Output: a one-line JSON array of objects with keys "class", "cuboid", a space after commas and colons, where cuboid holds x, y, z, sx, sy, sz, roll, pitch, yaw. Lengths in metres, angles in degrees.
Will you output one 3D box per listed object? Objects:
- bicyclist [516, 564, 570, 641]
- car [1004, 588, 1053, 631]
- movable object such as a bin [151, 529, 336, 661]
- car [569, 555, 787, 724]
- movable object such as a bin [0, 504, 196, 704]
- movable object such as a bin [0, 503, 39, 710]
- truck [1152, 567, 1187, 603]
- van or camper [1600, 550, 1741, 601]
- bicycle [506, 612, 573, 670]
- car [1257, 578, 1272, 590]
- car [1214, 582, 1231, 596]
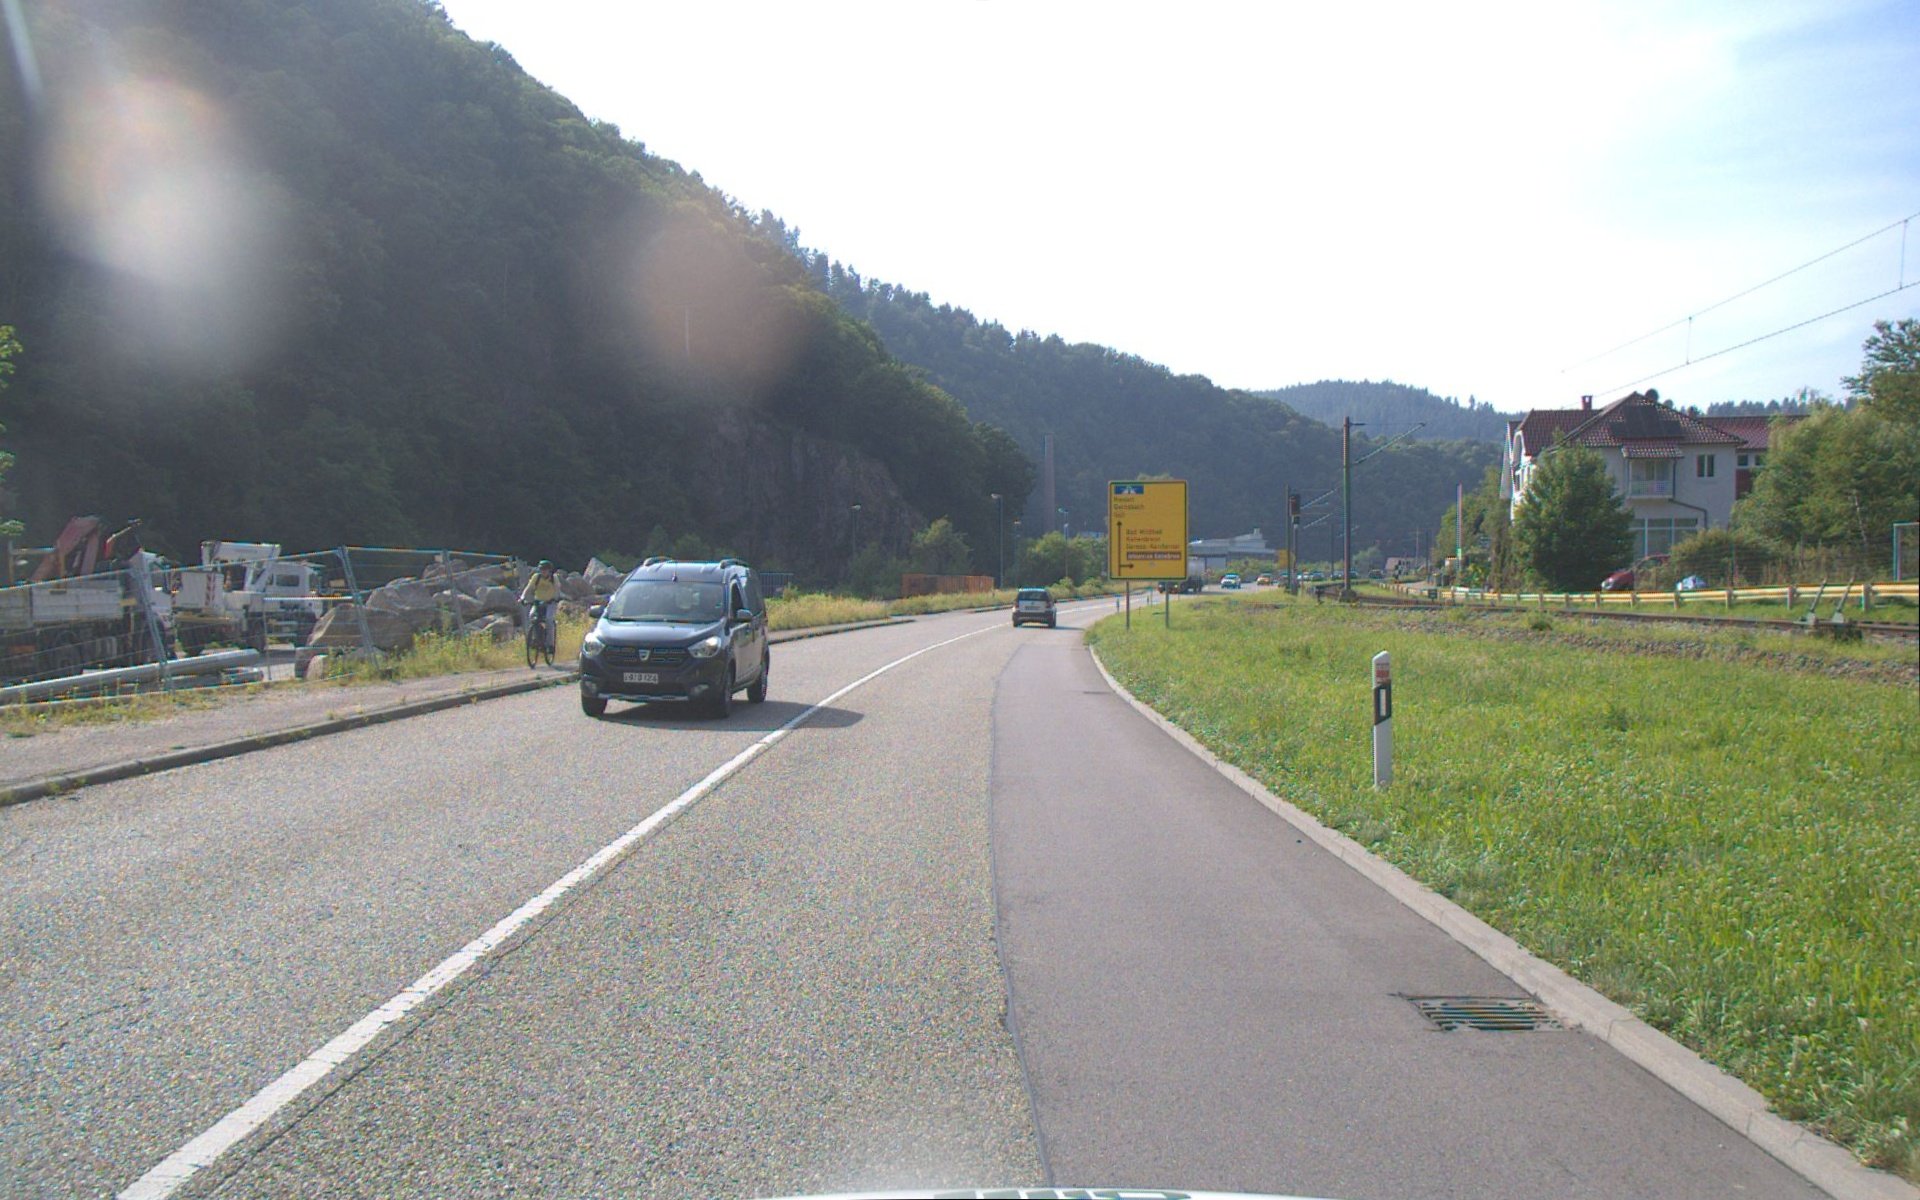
[{"class": "bicyclist", "cuboid": [-6.894, 0.046, 27.380, 0.670, 1.246, 0.858, 1, 0, -1]}, {"class": "car", "cuboid": [3.006, 0.393, 72.022, 1.952, 1.753, 3.992, -2, 0, 4]}, {"class": "movable object such as a bin", "cuboid": [-23.834, -0.162, 55.500, 2.839, 4.016, 7.807, -2, 0, -1]}, {"class": "car", "cuboid": [-3.343, 0.427, 20.529, 1.813, 1.816, 4.684, 1, 0, 1]}, {"class": "movable object such as a bin", "cuboid": [-20.057, 0.114, 36.928, 2.666, 4.016, 7.228, -2, 0, -1]}, {"class": "movable object such as a bin", "cuboid": [-19.811, 0.166, 28.316, 2.645, 4.016, 9.986, -2, 0, -2]}, {"class": "truck", "cuboid": [23.769, -1.699, 187.017, 2.692, 3.902, 8.204, 1, 1, 15]}, {"class": "van or camper", "cuboid": [30.831, -1.050, 71.935, 5.301, 1.962, 2.122, -2, 0, 12]}, {"class": "bicycle", "cuboid": [-6.910, 0.657, 27.283, 0.528, 0.897, 2.252, 2, 0, 0]}, {"class": "car", "cuboid": [43.163, -2.319, 234.320, 1.687, 1.653, 3.799, 2, 1, 14]}, {"class": "car", "cuboid": [34.293, -1.453, 216.305, 1.951, 1.789, 4.473, 2, 1, 12]}]
